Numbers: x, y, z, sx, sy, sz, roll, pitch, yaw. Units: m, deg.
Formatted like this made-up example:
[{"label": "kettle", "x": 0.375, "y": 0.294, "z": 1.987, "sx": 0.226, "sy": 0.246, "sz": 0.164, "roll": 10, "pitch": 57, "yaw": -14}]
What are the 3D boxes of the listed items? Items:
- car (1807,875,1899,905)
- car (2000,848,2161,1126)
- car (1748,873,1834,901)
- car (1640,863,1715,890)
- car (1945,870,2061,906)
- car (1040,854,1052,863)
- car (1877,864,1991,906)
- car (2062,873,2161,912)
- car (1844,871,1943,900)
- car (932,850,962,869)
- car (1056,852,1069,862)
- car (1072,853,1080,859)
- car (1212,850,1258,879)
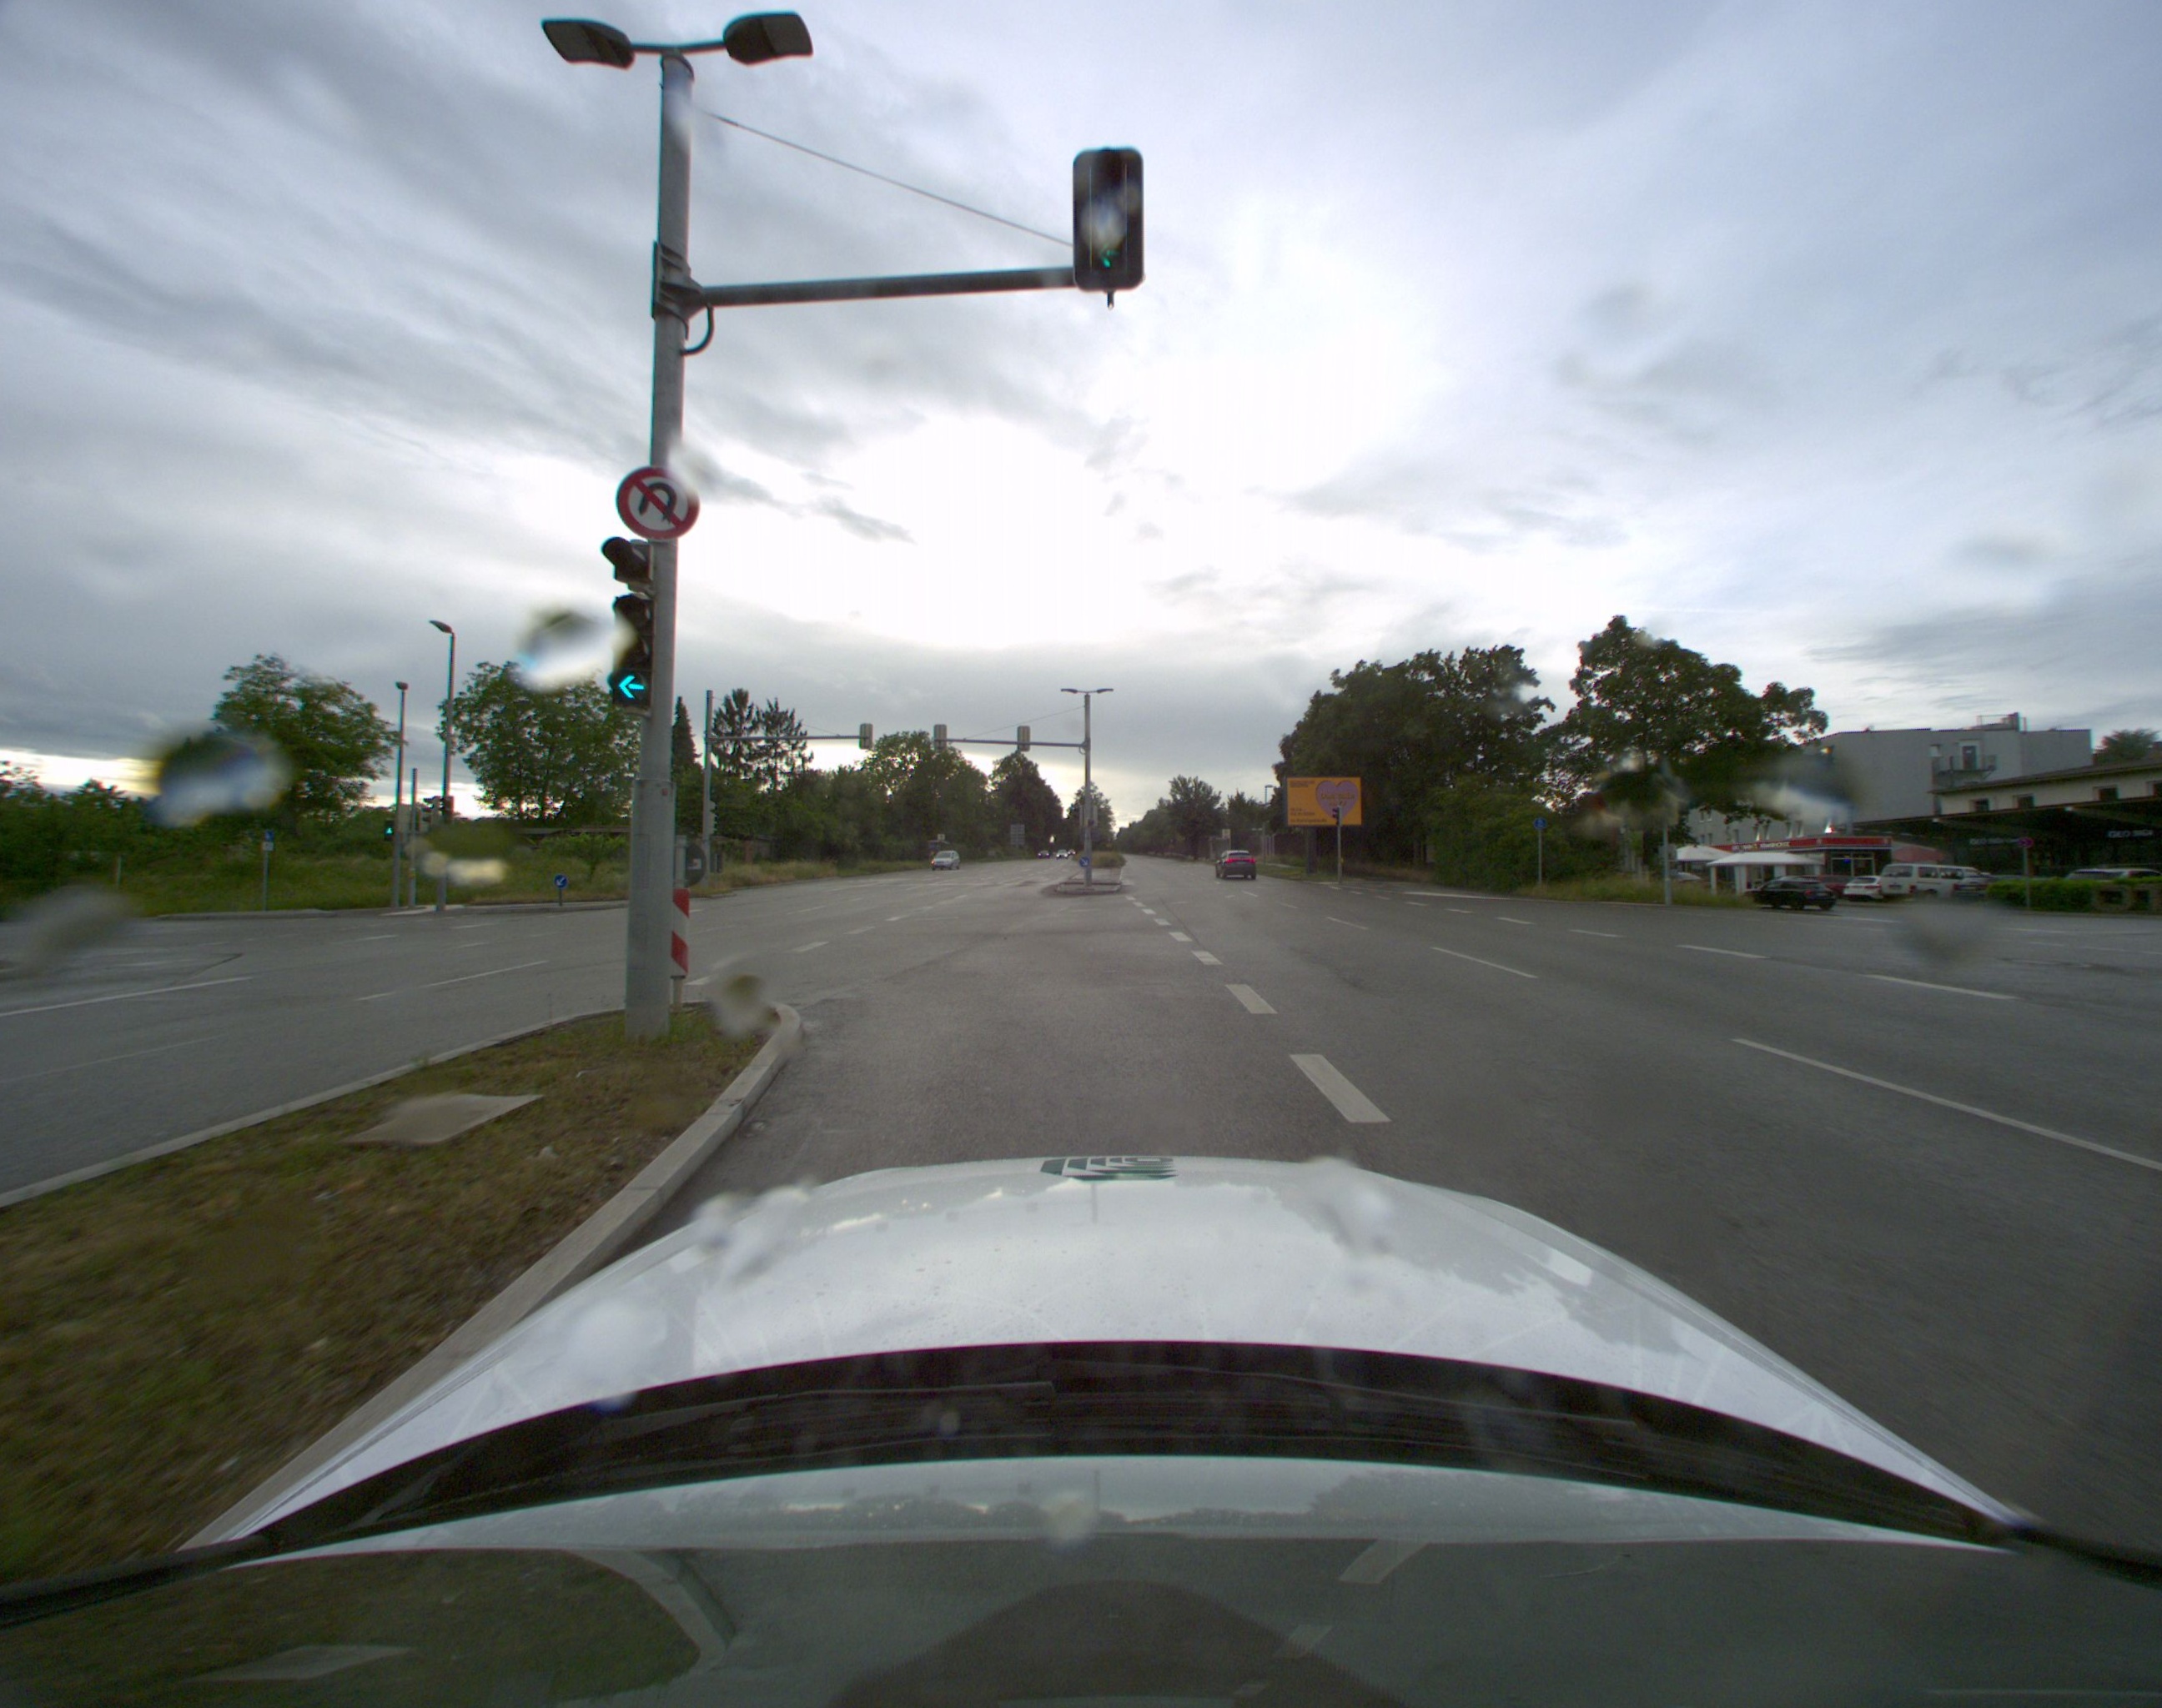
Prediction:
[{"label": "car", "x": 42.231, "y": 1.969, "z": 44.590, "sx": 3.860, "sy": 1.564, "sz": 1.515, "roll": 0, "pitch": 0, "yaw": -5}, {"label": "car", "x": 6.508, "y": 0.657, "z": 2.728, "sx": 1.738, "sy": 1.470, "sz": 4.643, "roll": 1, "pitch": -2, "yaw": 3}, {"label": "car", "x": 40.991, "y": 1.899, "z": 47.041, "sx": 3.860, "sy": 1.564, "sz": 1.515, "roll": 0, "pitch": 0, "yaw": -5}, {"label": "car", "x": 36.839, "y": 1.396, "z": 50.403, "sx": 1.770, "sy": 1.586, "sz": 4.143, "roll": 2, "pitch": -2, "yaw": 2}, {"label": "car", "x": 42.184, "y": 1.558, "z": 37.294, "sx": 3.860, "sy": 1.564, "sz": 1.515, "roll": 0, "pitch": 0, "yaw": -5}, {"label": "car", "x": -6.261, "y": 0.873, "z": 145.938, "sx": 1.886, "sy": 1.596, "sz": 4.490, "roll": 0, "pitch": 0, "yaw": 2}, {"label": "car", "x": 41.343, "y": 1.475, "z": 39.521, "sx": 3.860, "sy": 1.946, "sz": 1.854, "roll": 0, "pitch": 0, "yaw": -5}, {"label": "car", "x": 44.737, "y": 1.633, "z": 34.901, "sx": 3.860, "sy": 1.564, "sz": 1.515, "roll": 0, "pitch": 0, "yaw": -5}, {"label": "car", "x": 41.911, "y": 1.615, "z": 42.044, "sx": 3.860, "sy": 1.398, "sz": 1.515, "roll": 0, "pitch": 0, "yaw": -5}, {"label": "car", "x": -11.521, "y": 0.437, "z": 70.287, "sx": 1.762, "sy": 1.596, "sz": 4.490, "roll": 0, "pitch": 0, "yaw": 2}, {"label": "car", "x": -2.951, "y": 0.452, "z": 130.545, "sx": 1.886, "sy": 1.534, "sz": 4.490, "roll": 0, "pitch": 0, "yaw": 2}, {"label": "car", "x": -1.175, "y": 0.550, "z": 205.906, "sx": 1.886, "sy": 1.596, "sz": 4.490, "roll": 0, "pitch": 0, "yaw": 2}, {"label": "car", "x": 8.096, "y": 0.532, "z": 43.112, "sx": 1.738, "sy": 1.470, "sz": 4.168, "roll": 0, "pitch": 0, "yaw": 2}]
